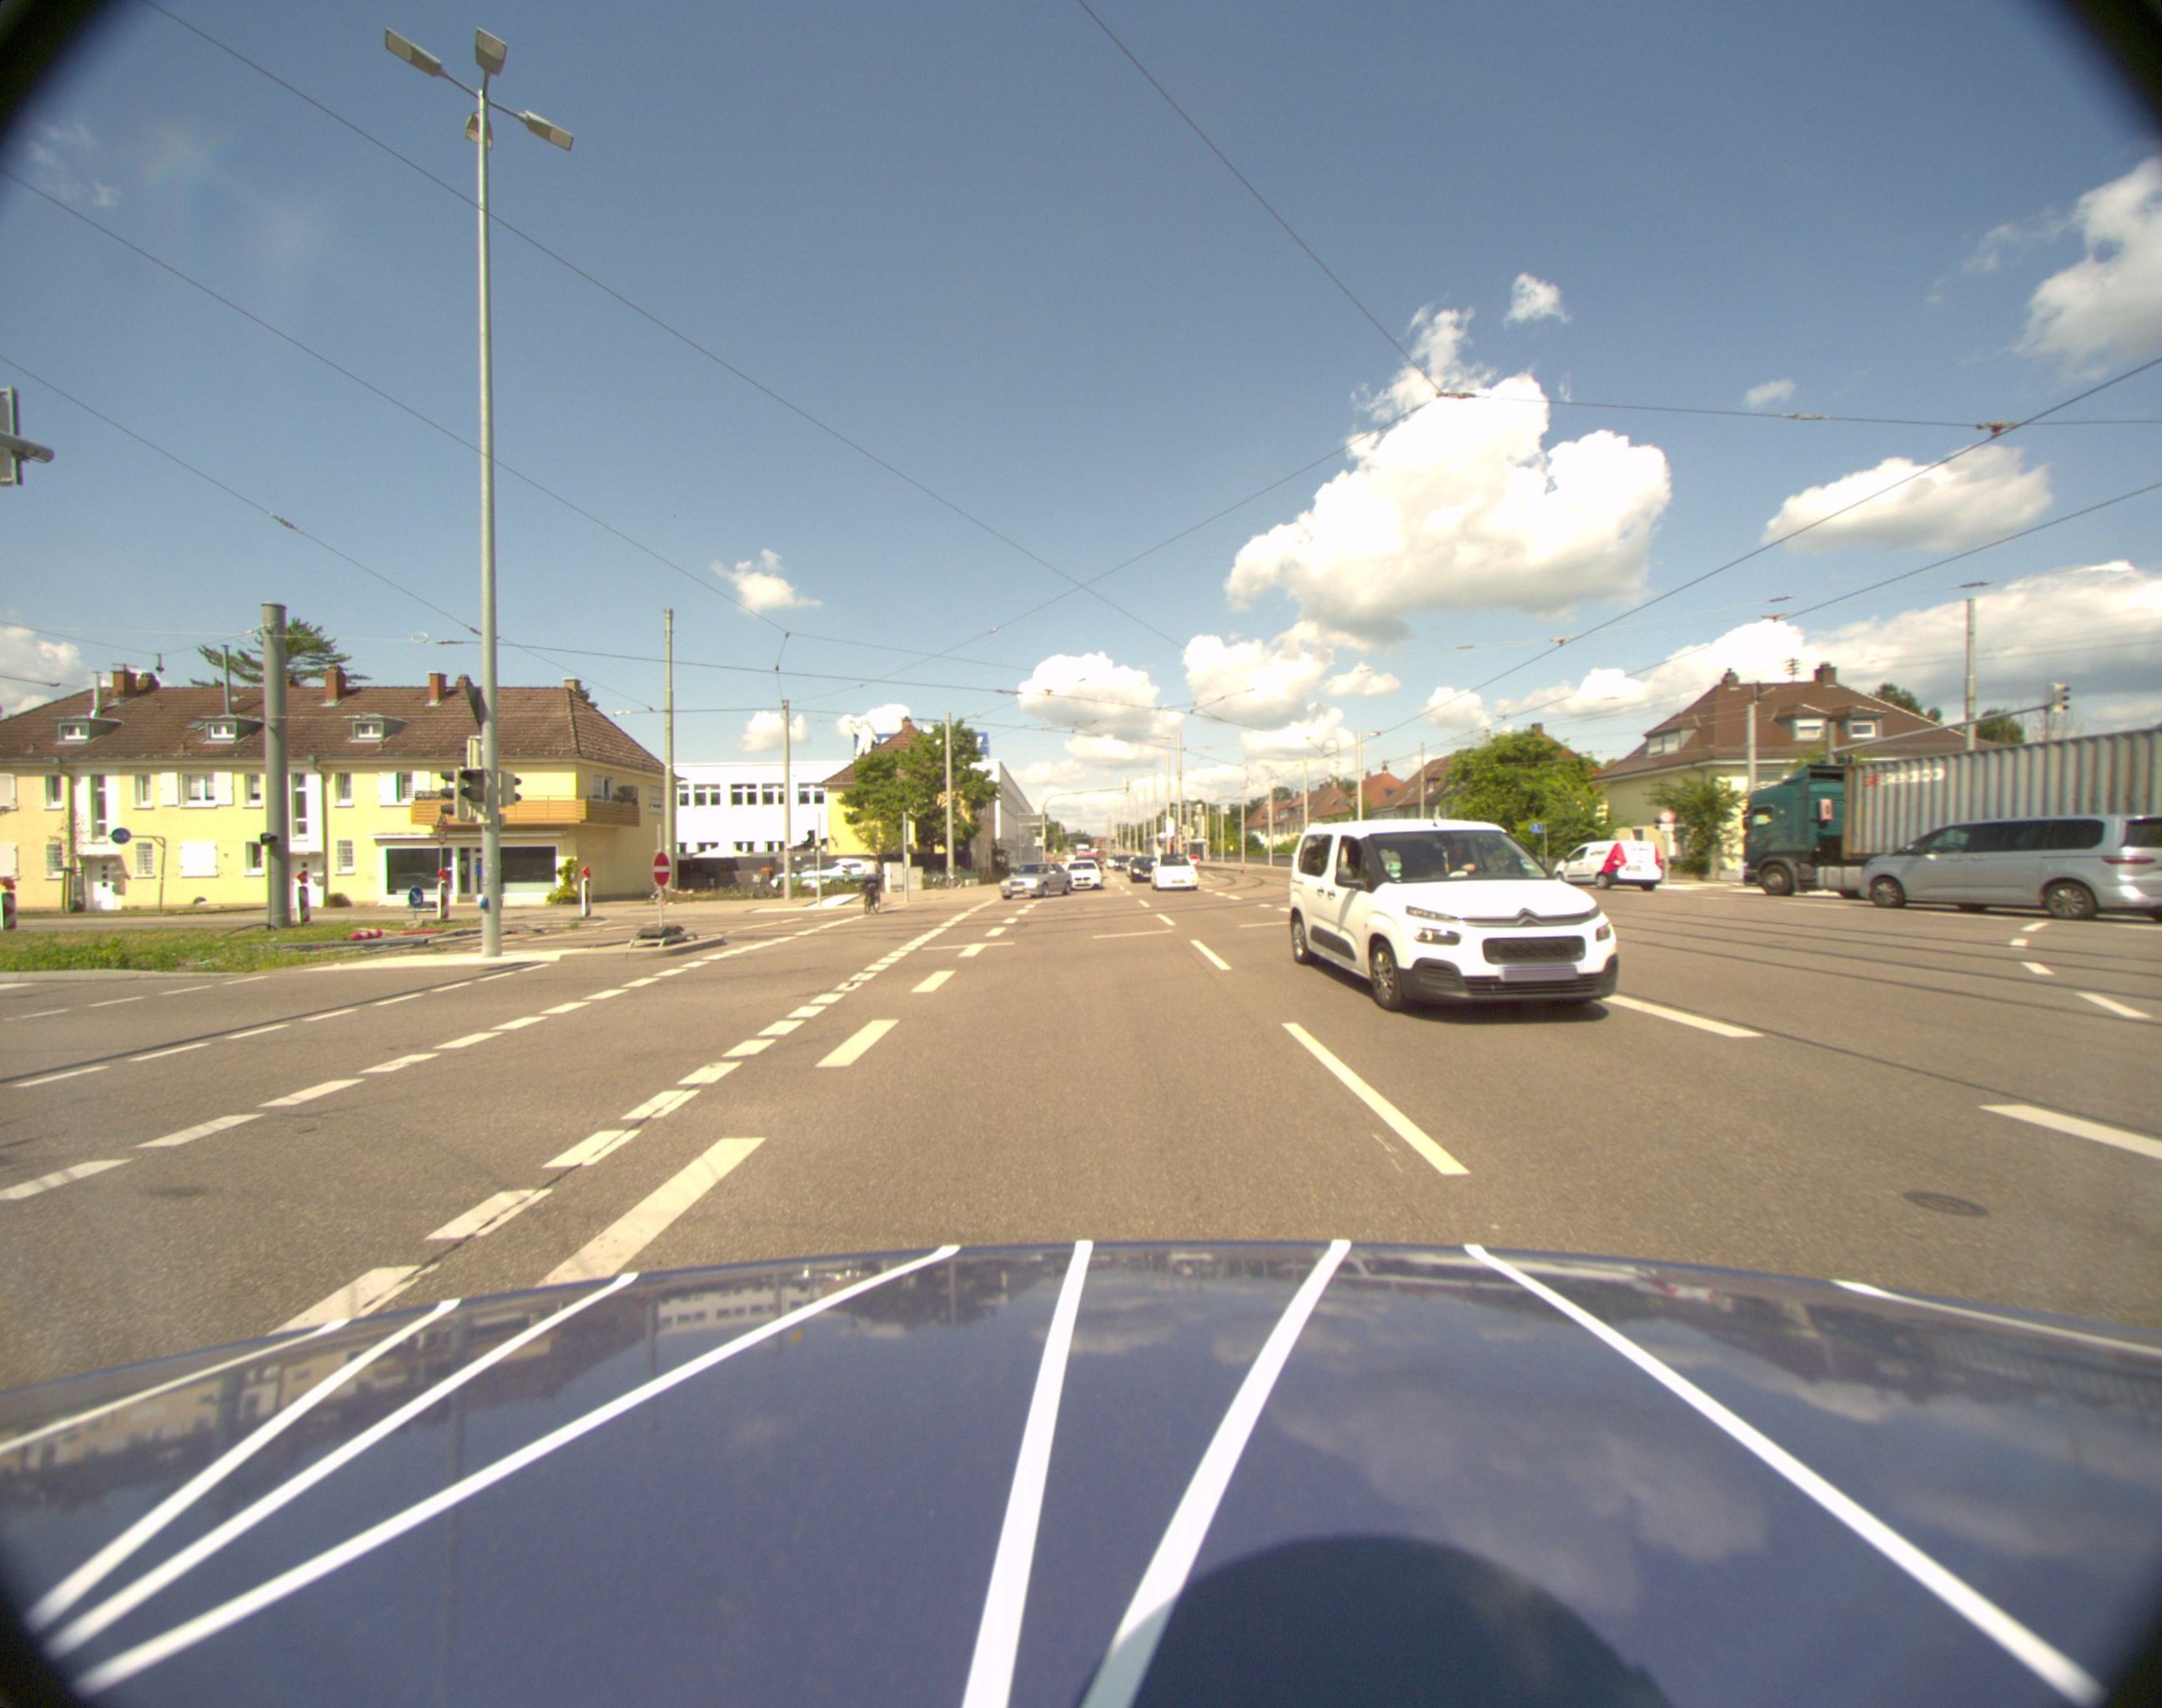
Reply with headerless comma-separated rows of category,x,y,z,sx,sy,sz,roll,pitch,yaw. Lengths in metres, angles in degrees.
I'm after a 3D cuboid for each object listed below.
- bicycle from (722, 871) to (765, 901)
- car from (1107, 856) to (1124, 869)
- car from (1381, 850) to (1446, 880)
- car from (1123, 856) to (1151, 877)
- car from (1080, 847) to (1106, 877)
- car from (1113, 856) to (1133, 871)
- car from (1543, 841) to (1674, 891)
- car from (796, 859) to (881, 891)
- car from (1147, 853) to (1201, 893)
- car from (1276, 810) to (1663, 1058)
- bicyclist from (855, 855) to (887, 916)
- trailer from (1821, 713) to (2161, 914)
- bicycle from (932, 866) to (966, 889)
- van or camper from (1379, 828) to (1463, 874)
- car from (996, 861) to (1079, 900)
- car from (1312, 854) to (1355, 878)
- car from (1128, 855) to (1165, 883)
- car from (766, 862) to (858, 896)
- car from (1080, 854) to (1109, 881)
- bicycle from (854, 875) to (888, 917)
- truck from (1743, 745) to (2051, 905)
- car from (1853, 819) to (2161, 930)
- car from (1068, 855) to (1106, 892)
bicycle,-13.989,1.315,31.513,1.576,1.131,0.380,-3,1,-27
car,4.057,0.955,90.204,1.698,1.350,4.498,-2,1,-1
car,19.416,0.612,44.610,1.998,1.543,4.177,2,1,1
car,4.151,0.899,57.187,1.698,1.350,4.498,-2,1,-1
car,0.849,0.570,57.836,1.787,2.135,5.168,-2,1,-1
car,4.241,0.927,77.056,1.698,1.350,4.498,-2,1,-1
car,18.819,0.371,27.388,1.798,1.627,4.471,0,1,3
car,-13.251,1.140,41.781,4.117,1.587,1.799,-1,0,-5
car,3.858,0.755,32.035,1.680,1.495,3.392,-2,0,-2
car,3.492,0.580,7.897,1.799,1.805,4.329,-2,1,1
bicyclist,-6.110,0.898,22.137,0.652,1.728,0.983,-3,1,-6
trailer,21.756,-0.740,14.848,2.605,3.798,12.840,1,0,3
bicycle,-6.557,1.169,37.847,0.462,1.013,1.759,-1,1,41
van or camper,23.009,-0.283,51.936,2.330,2.913,7.752,0,2,1
car,-1.647,1.022,30.526,1.723,1.389,4.469,-2,-1,19
car,19.568,0.916,59.180,1.998,1.766,4.879,1,0,4
car,3.700,0.805,43.457,1.680,1.414,3.557,-2,1,-2
car,-13.743,1.251,38.990,4.117,1.587,1.799,-1,0,-5
car,0.835,0.856,48.543,1.664,1.529,3.999,-2,1,-1
bicycle,-6.096,1.197,22.117,0.652,1.111,1.587,-3,1,-6
truck,22.113,-0.686,21.149,2.605,3.799,5.669,1,0,4
car,18.233,0.305,14.707,1.799,1.805,4.712,0,1,1
car,0.240,0.905,36.688,1.664,1.564,3.999,-2,1,-1
